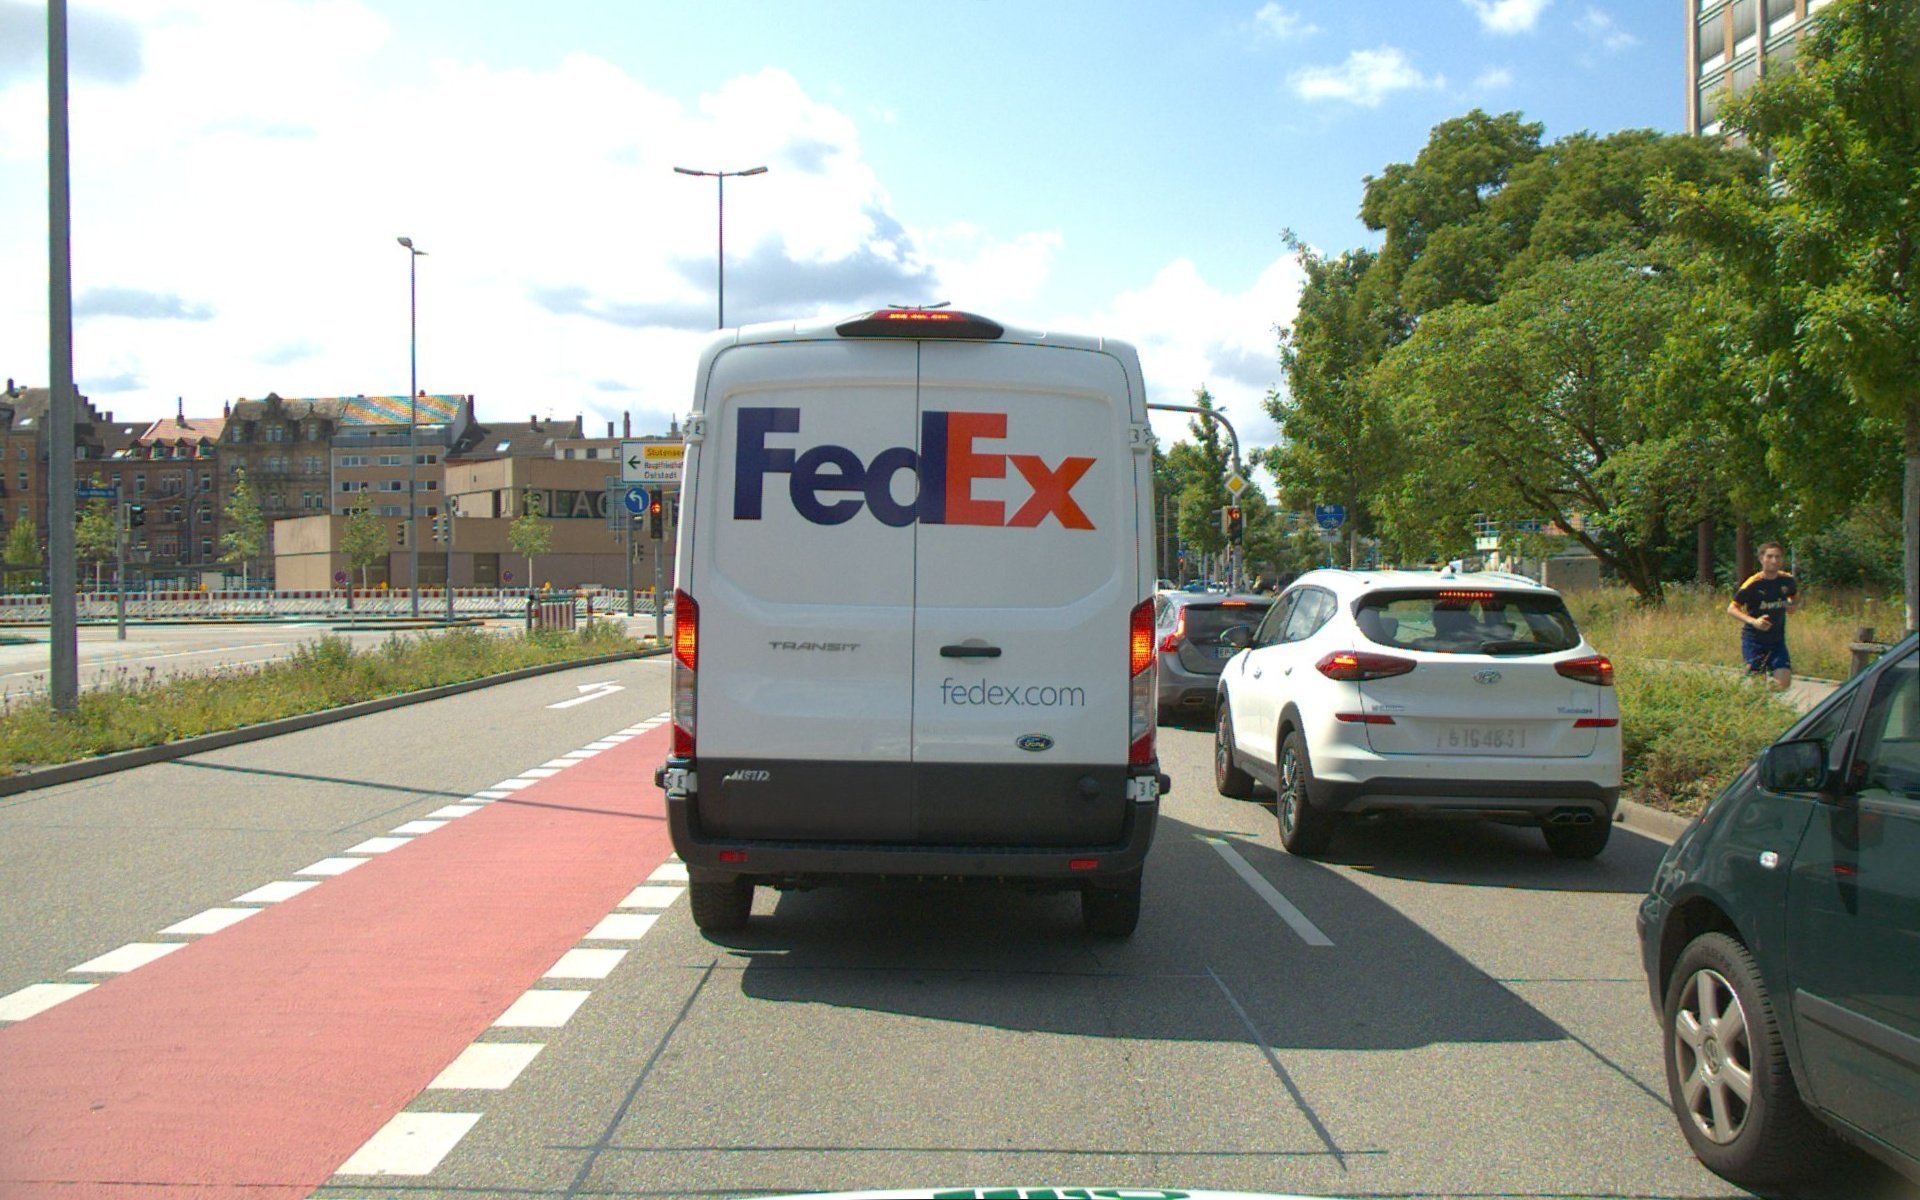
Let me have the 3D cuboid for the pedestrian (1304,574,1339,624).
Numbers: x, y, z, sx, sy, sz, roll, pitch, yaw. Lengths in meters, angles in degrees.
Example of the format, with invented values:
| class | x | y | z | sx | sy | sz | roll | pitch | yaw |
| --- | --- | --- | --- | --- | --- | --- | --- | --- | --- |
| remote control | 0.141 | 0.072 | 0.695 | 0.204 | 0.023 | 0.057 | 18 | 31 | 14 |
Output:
| class | x | y | z | sx | sy | sz | roll | pitch | yaw |
| --- | --- | --- | --- | --- | --- | --- | --- | --- | --- |
| pedestrian | 10.372 | -0.023 | 47.448 | 0.827 | 1.413 | 0.741 | 0 | 1 | -1 |

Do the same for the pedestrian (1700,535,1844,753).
| class | x | y | z | sx | sy | sz | roll | pitch | yaw |
| --- | --- | --- | --- | --- | --- | --- | --- | --- | --- |
| pedestrian | 7.381 | 0.385 | 15.071 | 0.931 | 1.925 | 0.773 | 0 | 0 | -1 |

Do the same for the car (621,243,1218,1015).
| class | x | y | z | sx | sy | sz | roll | pitch | yaw |
| --- | --- | --- | --- | --- | --- | --- | --- | --- | --- |
| car | -0.269 | 0.087 | 8.693 | 2.098 | 2.699 | 5.701 | 0 | 0 | -3 |

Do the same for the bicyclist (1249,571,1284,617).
| class | x | y | z | sx | sy | sz | roll | pitch | yaw |
| --- | --- | --- | --- | --- | --- | --- | --- | --- | --- |
| bicyclist | 10.024 | -0.210 | 54.097 | 0.953 | 1.500 | 0.548 | 0 | 1 | -19 |

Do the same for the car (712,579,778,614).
| class | x | y | z | sx | sy | sz | roll | pitch | yaw |
| --- | --- | --- | --- | --- | --- | --- | --- | --- | --- |
| car | -10.338 | -0.176 | 79.836 | 1.860 | 1.613 | 4.003 | 0 | 0 | 13 |

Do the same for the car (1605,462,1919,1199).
| class | x | y | z | sx | sy | sz | roll | pitch | yaw |
| --- | --- | --- | --- | --- | --- | --- | --- | --- | --- |
| car | 2.872 | 0.614 | 2.809 | 1.775 | 1.764 | 4.388 | 1 | 1 | -1 |

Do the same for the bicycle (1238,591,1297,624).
| class | x | y | z | sx | sy | sz | roll | pitch | yaw |
| --- | --- | --- | --- | --- | --- | --- | --- | --- | --- |
| bicycle | 10.076 | 0.245 | 54.126 | 1.891 | 1.048 | 0.545 | 0 | 1 | -20 |

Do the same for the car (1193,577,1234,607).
| class | x | y | z | sx | sy | sz | roll | pitch | yaw |
| --- | --- | --- | --- | --- | --- | --- | --- | --- | --- |
| car | 15.746 | -0.503 | 102.495 | 1.951 | 1.825 | 4.374 | -1 | 0 | 16 |

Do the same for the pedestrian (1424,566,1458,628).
| class | x | y | z | sx | sy | sz | roll | pitch | yaw |
| --- | --- | --- | --- | --- | --- | --- | --- | --- | --- |
| pedestrian | 15.945 | -0.100 | 54.832 | 0.831 | 2.049 | 0.738 | 0 | 1 | -15 |

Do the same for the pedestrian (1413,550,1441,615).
| class | x | y | z | sx | sy | sz | roll | pitch | yaw |
| --- | --- | --- | --- | --- | --- | --- | --- | --- | --- |
| pedestrian | 15.238 | -0.566 | 54.015 | 0.724 | 2.094 | 0.846 | 0 | 1 | 27 |

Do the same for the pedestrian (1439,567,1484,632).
| class | x | y | z | sx | sy | sz | roll | pitch | yaw |
| --- | --- | --- | --- | --- | --- | --- | --- | --- | --- |
| pedestrian | 12.252 | -0.017 | 40.410 | 0.827 | 1.565 | 0.835 | 0 | 1 | -1 |

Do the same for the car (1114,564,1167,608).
| class | x | y | z | sx | sy | sz | roll | pitch | yaw |
| --- | --- | --- | --- | --- | --- | --- | --- | --- | --- |
| car | 8.700 | -0.663 | 79.538 | 2.048 | 2.049 | 4.648 | 0 | 0 | 12 |

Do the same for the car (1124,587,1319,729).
| class | x | y | z | sx | sy | sz | roll | pitch | yaw |
| --- | --- | --- | --- | --- | --- | --- | --- | --- | --- |
| car | 2.965 | 0.599 | 19.476 | 1.760 | 1.486 | 3.839 | 0 | 1 | 1 |

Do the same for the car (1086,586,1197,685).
| class | x | y | z | sx | sy | sz | roll | pitch | yaw |
| --- | --- | --- | --- | --- | --- | --- | --- | --- | --- |
| car | 2.833 | 0.515 | 26.293 | 1.454 | 1.453 | 3.433 | 0 | 1 | 1 |

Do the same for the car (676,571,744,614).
| class | x | y | z | sx | sy | sz | roll | pitch | yaw |
| --- | --- | --- | --- | --- | --- | --- | --- | --- | --- |
| car | -12.318 | -0.367 | 81.608 | 1.951 | 2.049 | 4.003 | 0 | 0 | 13 |

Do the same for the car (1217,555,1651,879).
| class | x | y | z | sx | sy | sz | roll | pitch | yaw |
| --- | --- | --- | --- | --- | --- | --- | --- | --- | --- |
| car | 2.830 | 0.595 | 10.790 | 1.760 | 1.717 | 4.001 | 0 | 1 | 1 |
